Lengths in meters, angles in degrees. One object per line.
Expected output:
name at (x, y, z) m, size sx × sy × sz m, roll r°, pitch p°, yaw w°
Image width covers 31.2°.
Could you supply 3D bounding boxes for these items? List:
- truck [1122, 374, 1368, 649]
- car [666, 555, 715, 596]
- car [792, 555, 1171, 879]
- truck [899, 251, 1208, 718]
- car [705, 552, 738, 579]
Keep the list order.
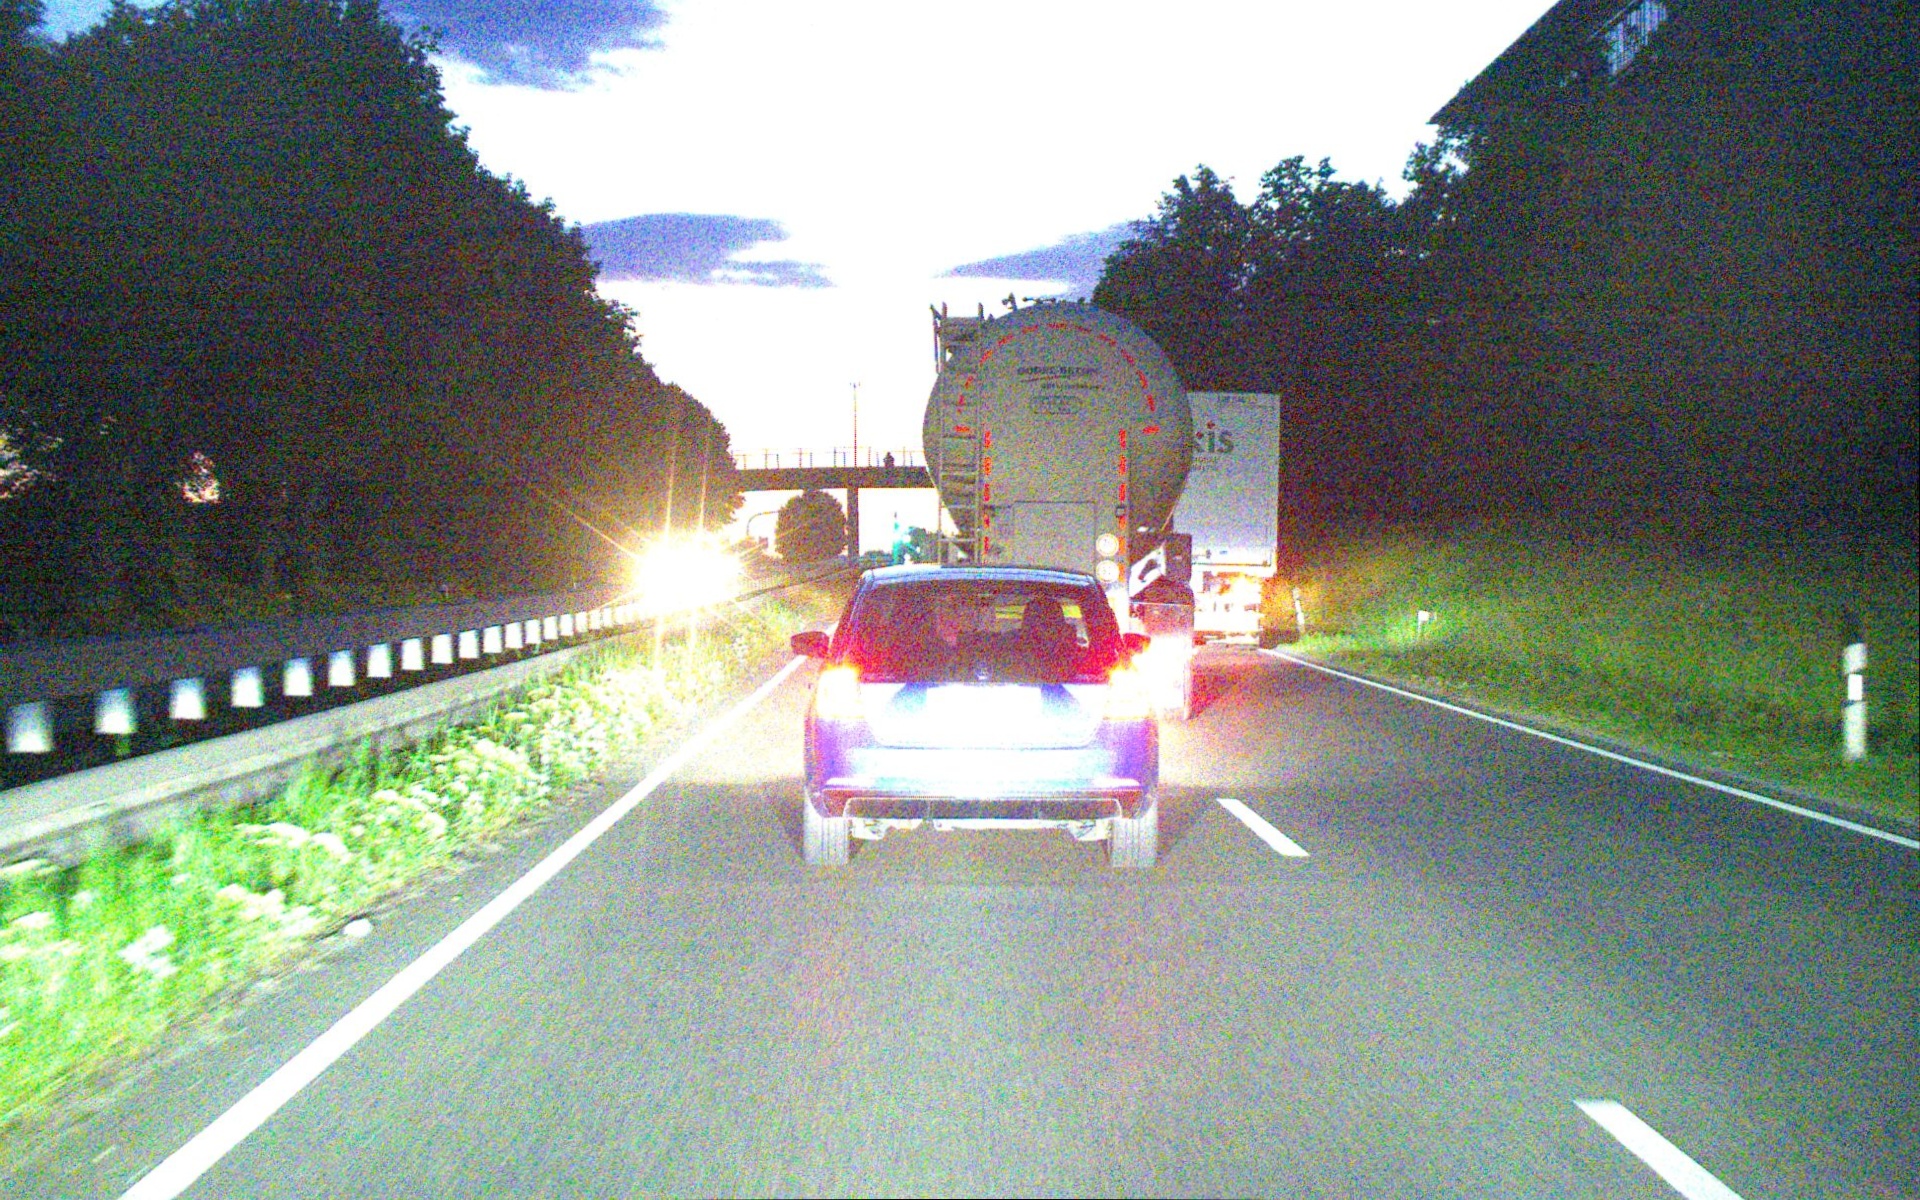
truck at (4.569, -1.381, 57.892) m, size 2.883 × 4.092 × 12.684 m, roll 1°, pitch 1°, yaw -1°
car at (-10.712, -0.974, 136.817) m, size 1.682 × 1.582 × 4.167 m, roll 1°, pitch 1°, yaw -1°
car at (0.072, 0.512, 17.466) m, size 1.695 × 1.447 × 3.914 m, roll 1°, pitch 0°, yaw -1°
truck at (0.742, -1.079, 36.932) m, size 2.687 × 4.092 × 13.142 m, roll 1°, pitch 1°, yaw -1°
car at (-13.729, -1.977, 198.070) m, size 1.617 × 1.502 × 3.869 m, roll 1°, pitch 0°, yaw -1°
